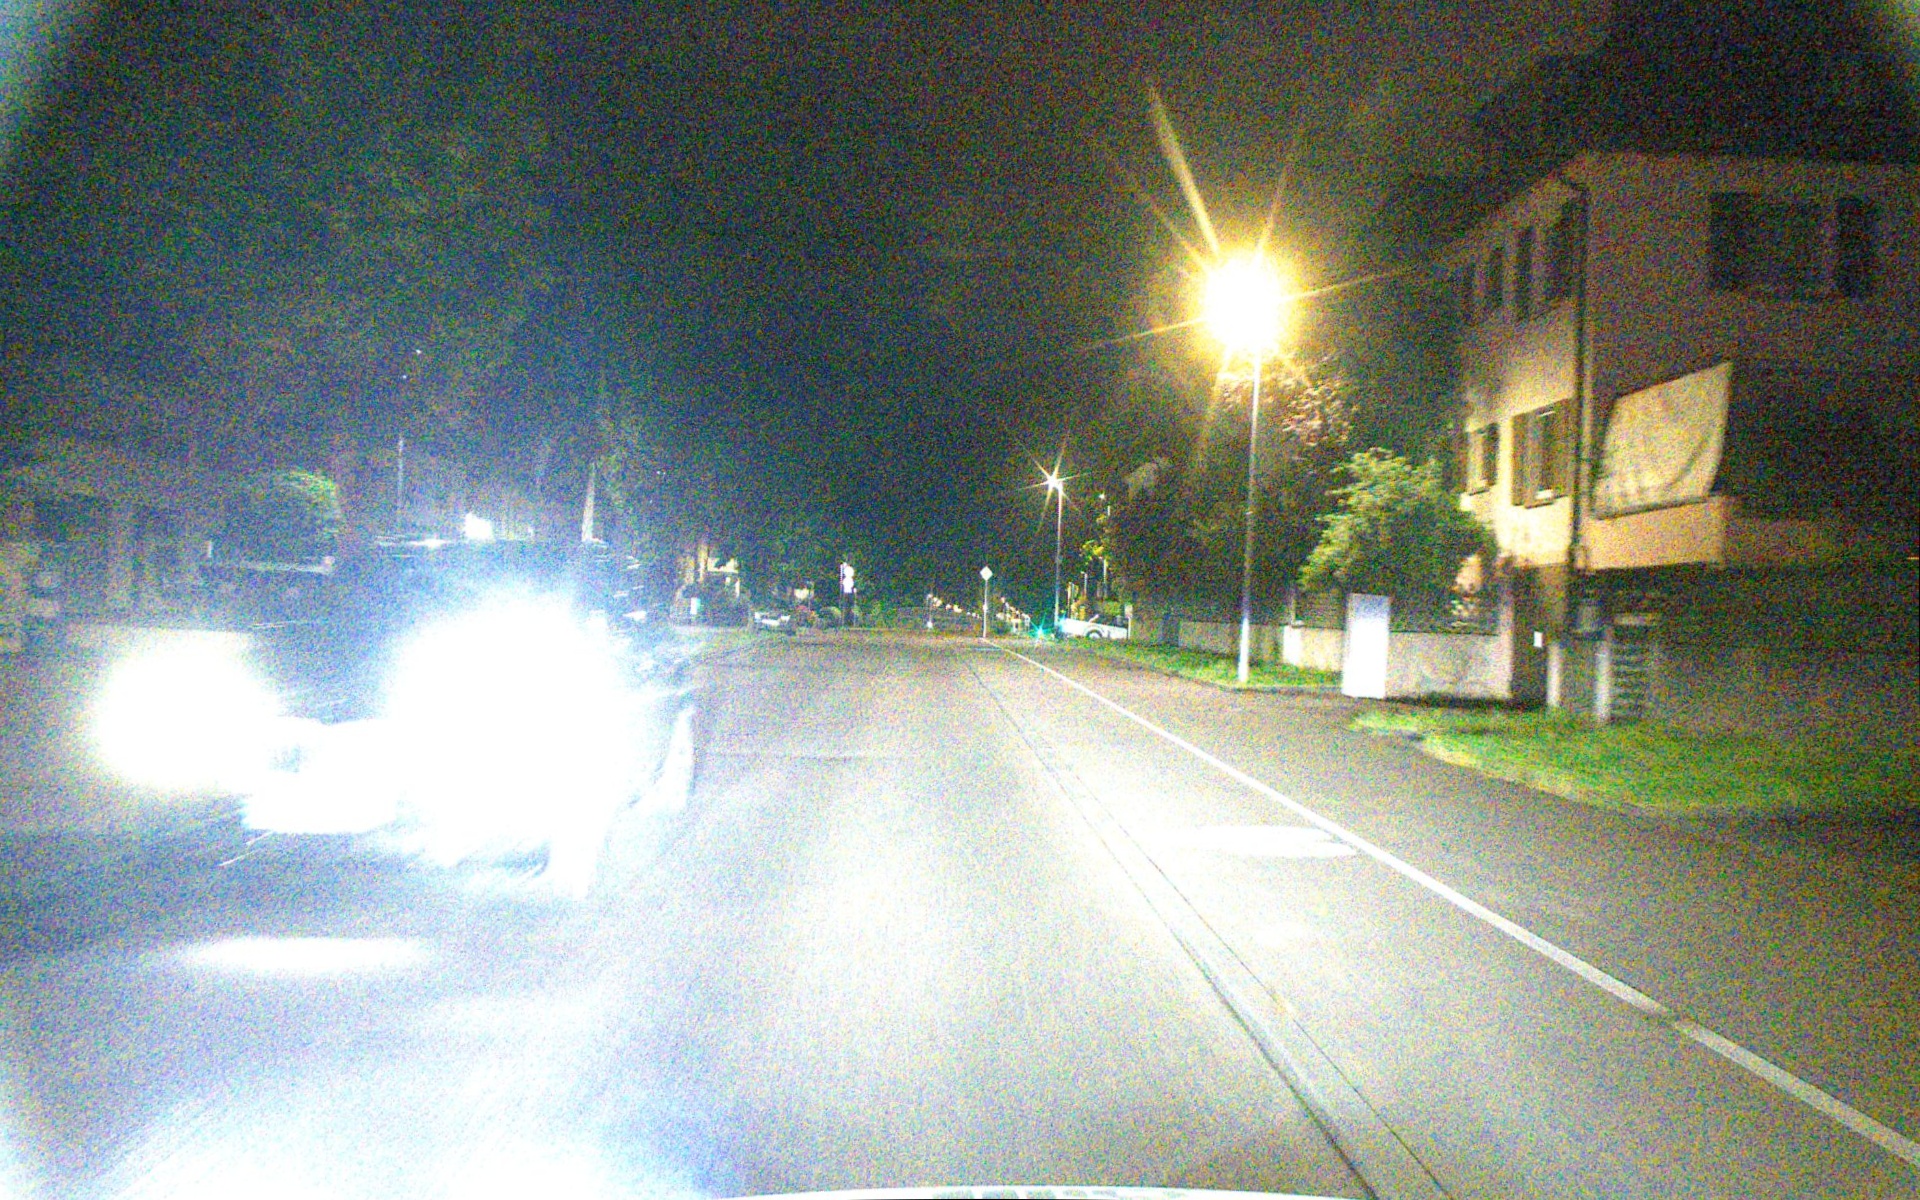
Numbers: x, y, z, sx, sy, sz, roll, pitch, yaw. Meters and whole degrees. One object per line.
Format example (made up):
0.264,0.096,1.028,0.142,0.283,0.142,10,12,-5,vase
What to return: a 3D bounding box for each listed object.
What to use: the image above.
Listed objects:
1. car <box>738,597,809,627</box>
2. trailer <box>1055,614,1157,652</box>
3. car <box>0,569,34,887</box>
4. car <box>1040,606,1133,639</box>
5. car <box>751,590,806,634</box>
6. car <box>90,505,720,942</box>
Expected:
-10.838,0.672,96.094,3.634,1.655,1.784,1,-1,17,car
5.158,1.162,58.681,3.364,1.019,1.953,5,0,-2,trailer
-5.268,0.584,5.940,1.714,1.494,4.007,2,0,-3,car
4.762,0.843,62.648,3.324,1.253,1.723,0,0,-4,car
-7.164,0.463,65.683,1.638,1.618,3.987,2,0,1,car
-2.639,0.513,9.171,1.962,1.778,4.557,1,0,-1,car
